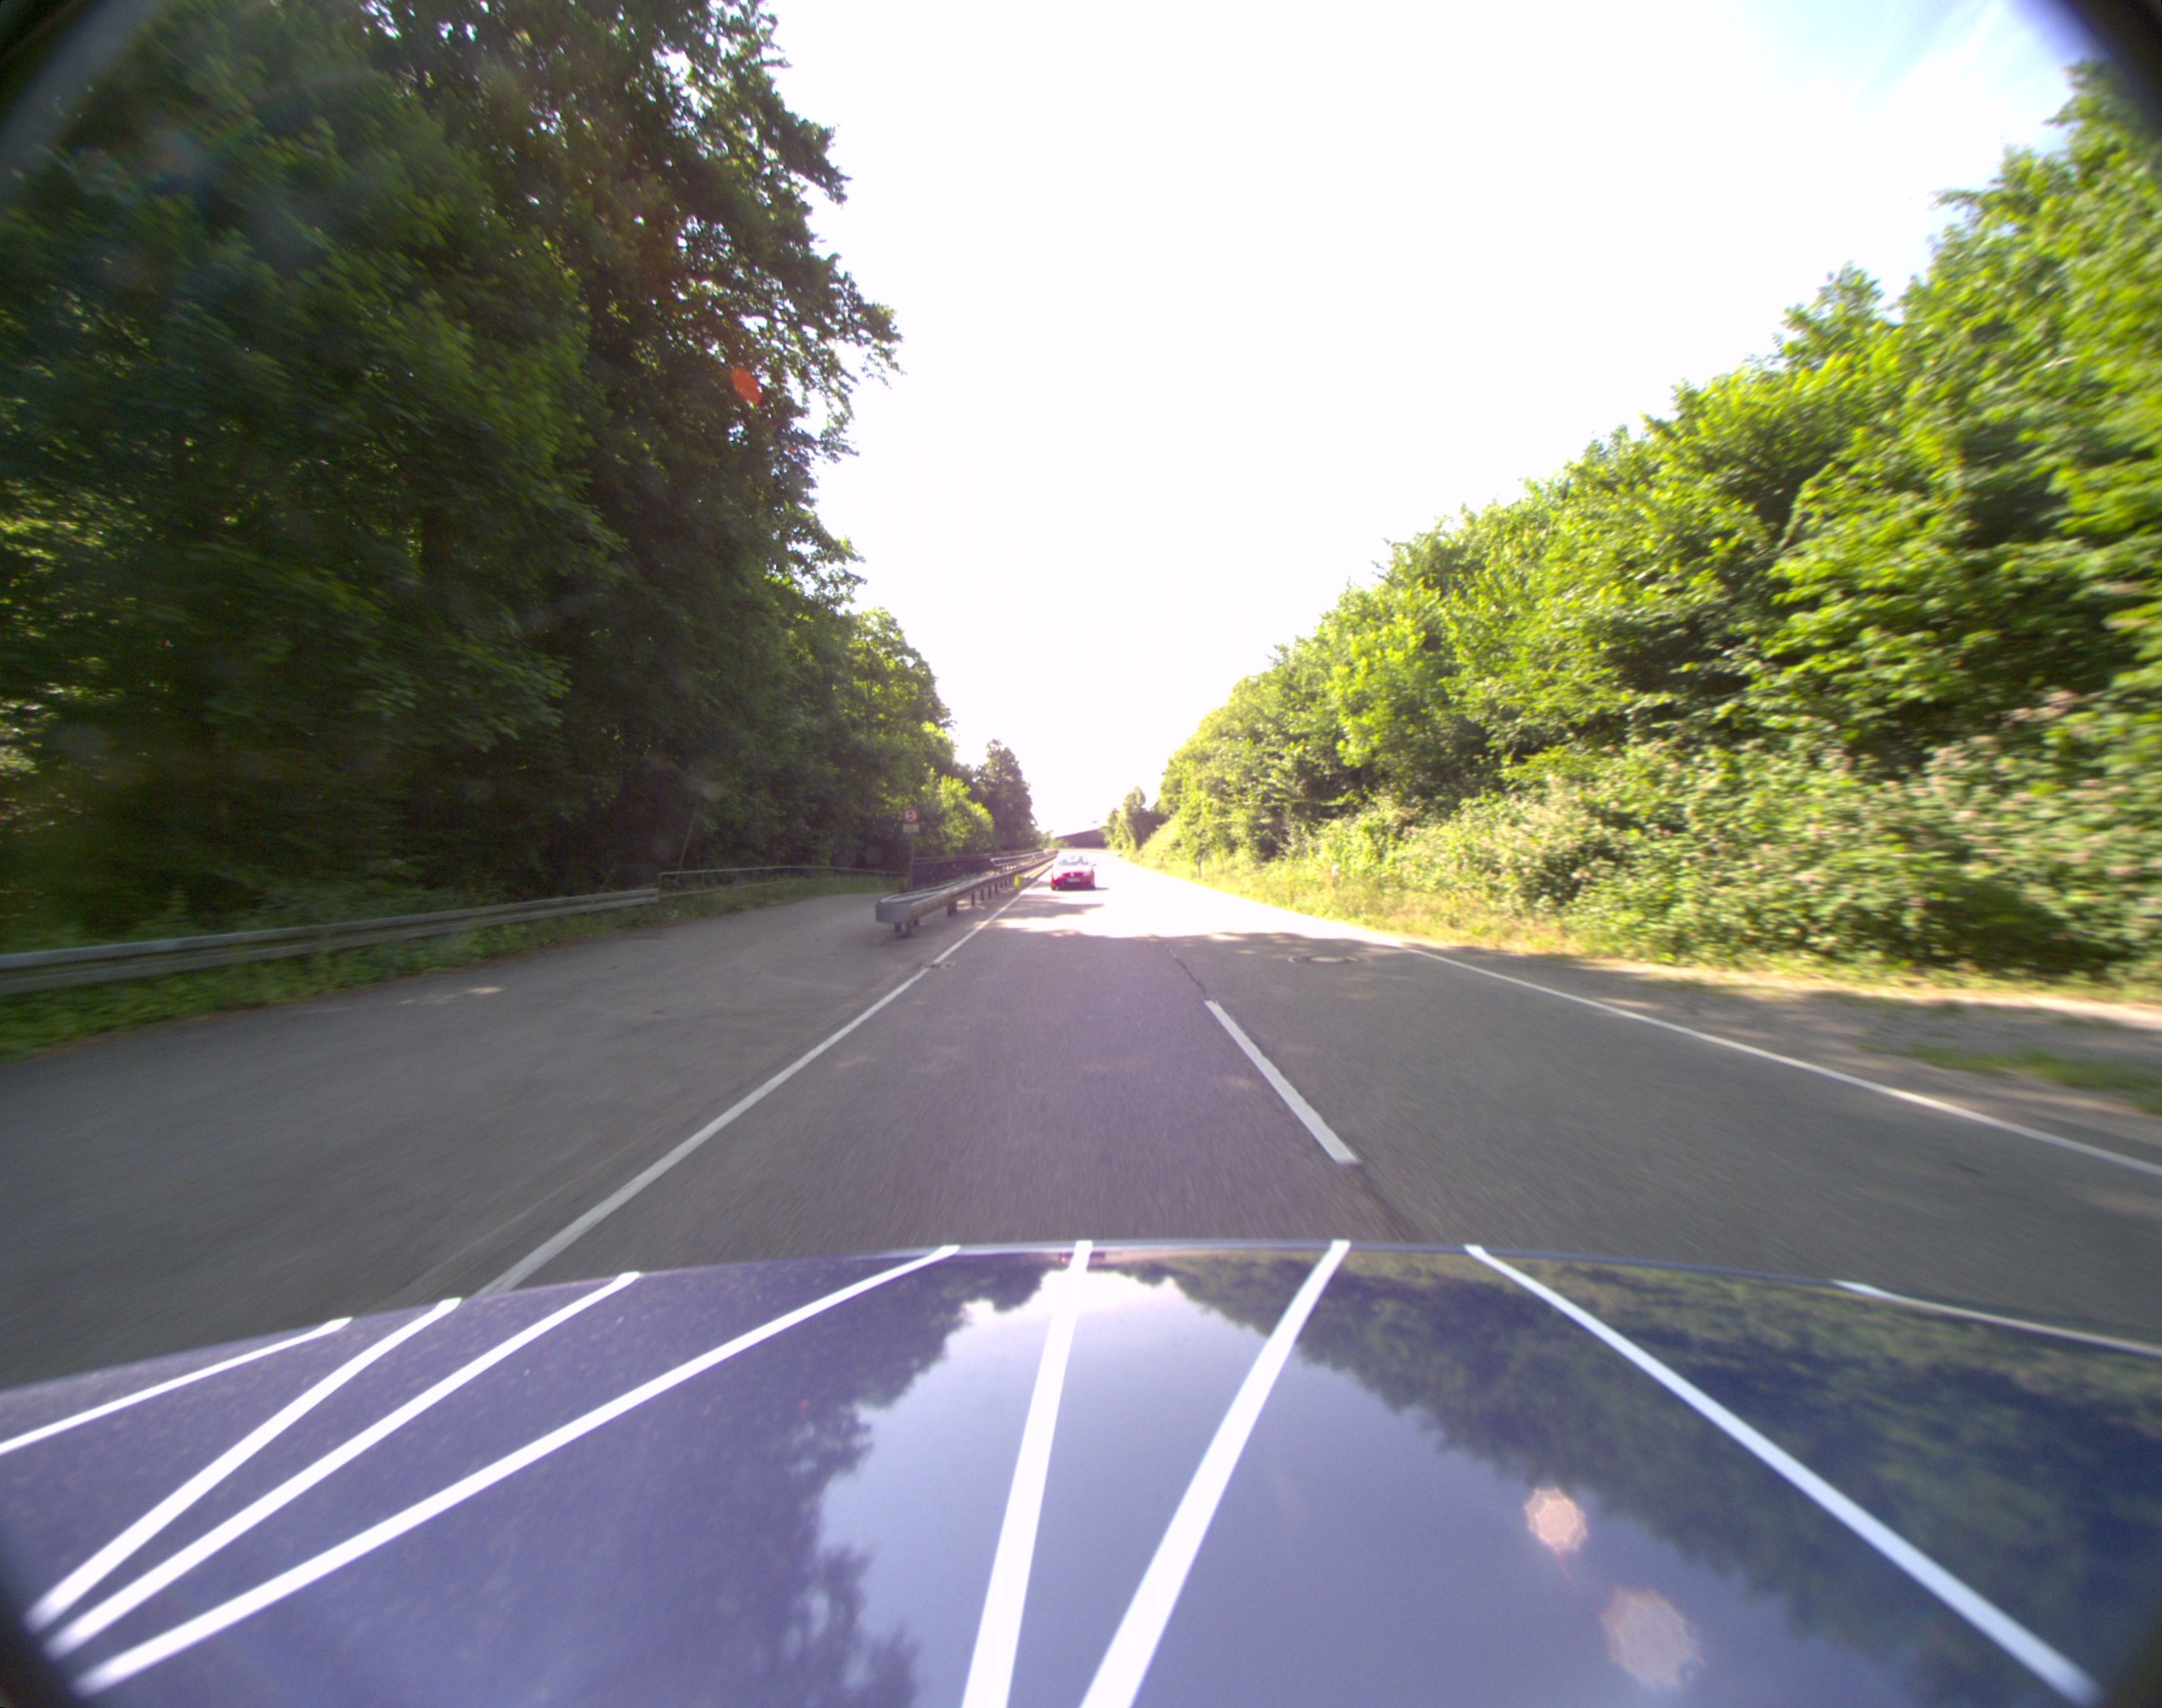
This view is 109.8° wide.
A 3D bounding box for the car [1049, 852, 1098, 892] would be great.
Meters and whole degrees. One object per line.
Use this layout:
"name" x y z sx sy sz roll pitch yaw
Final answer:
"car" -0.302 0.669 31.272 1.816 1.488 4.285 -1 0 0
